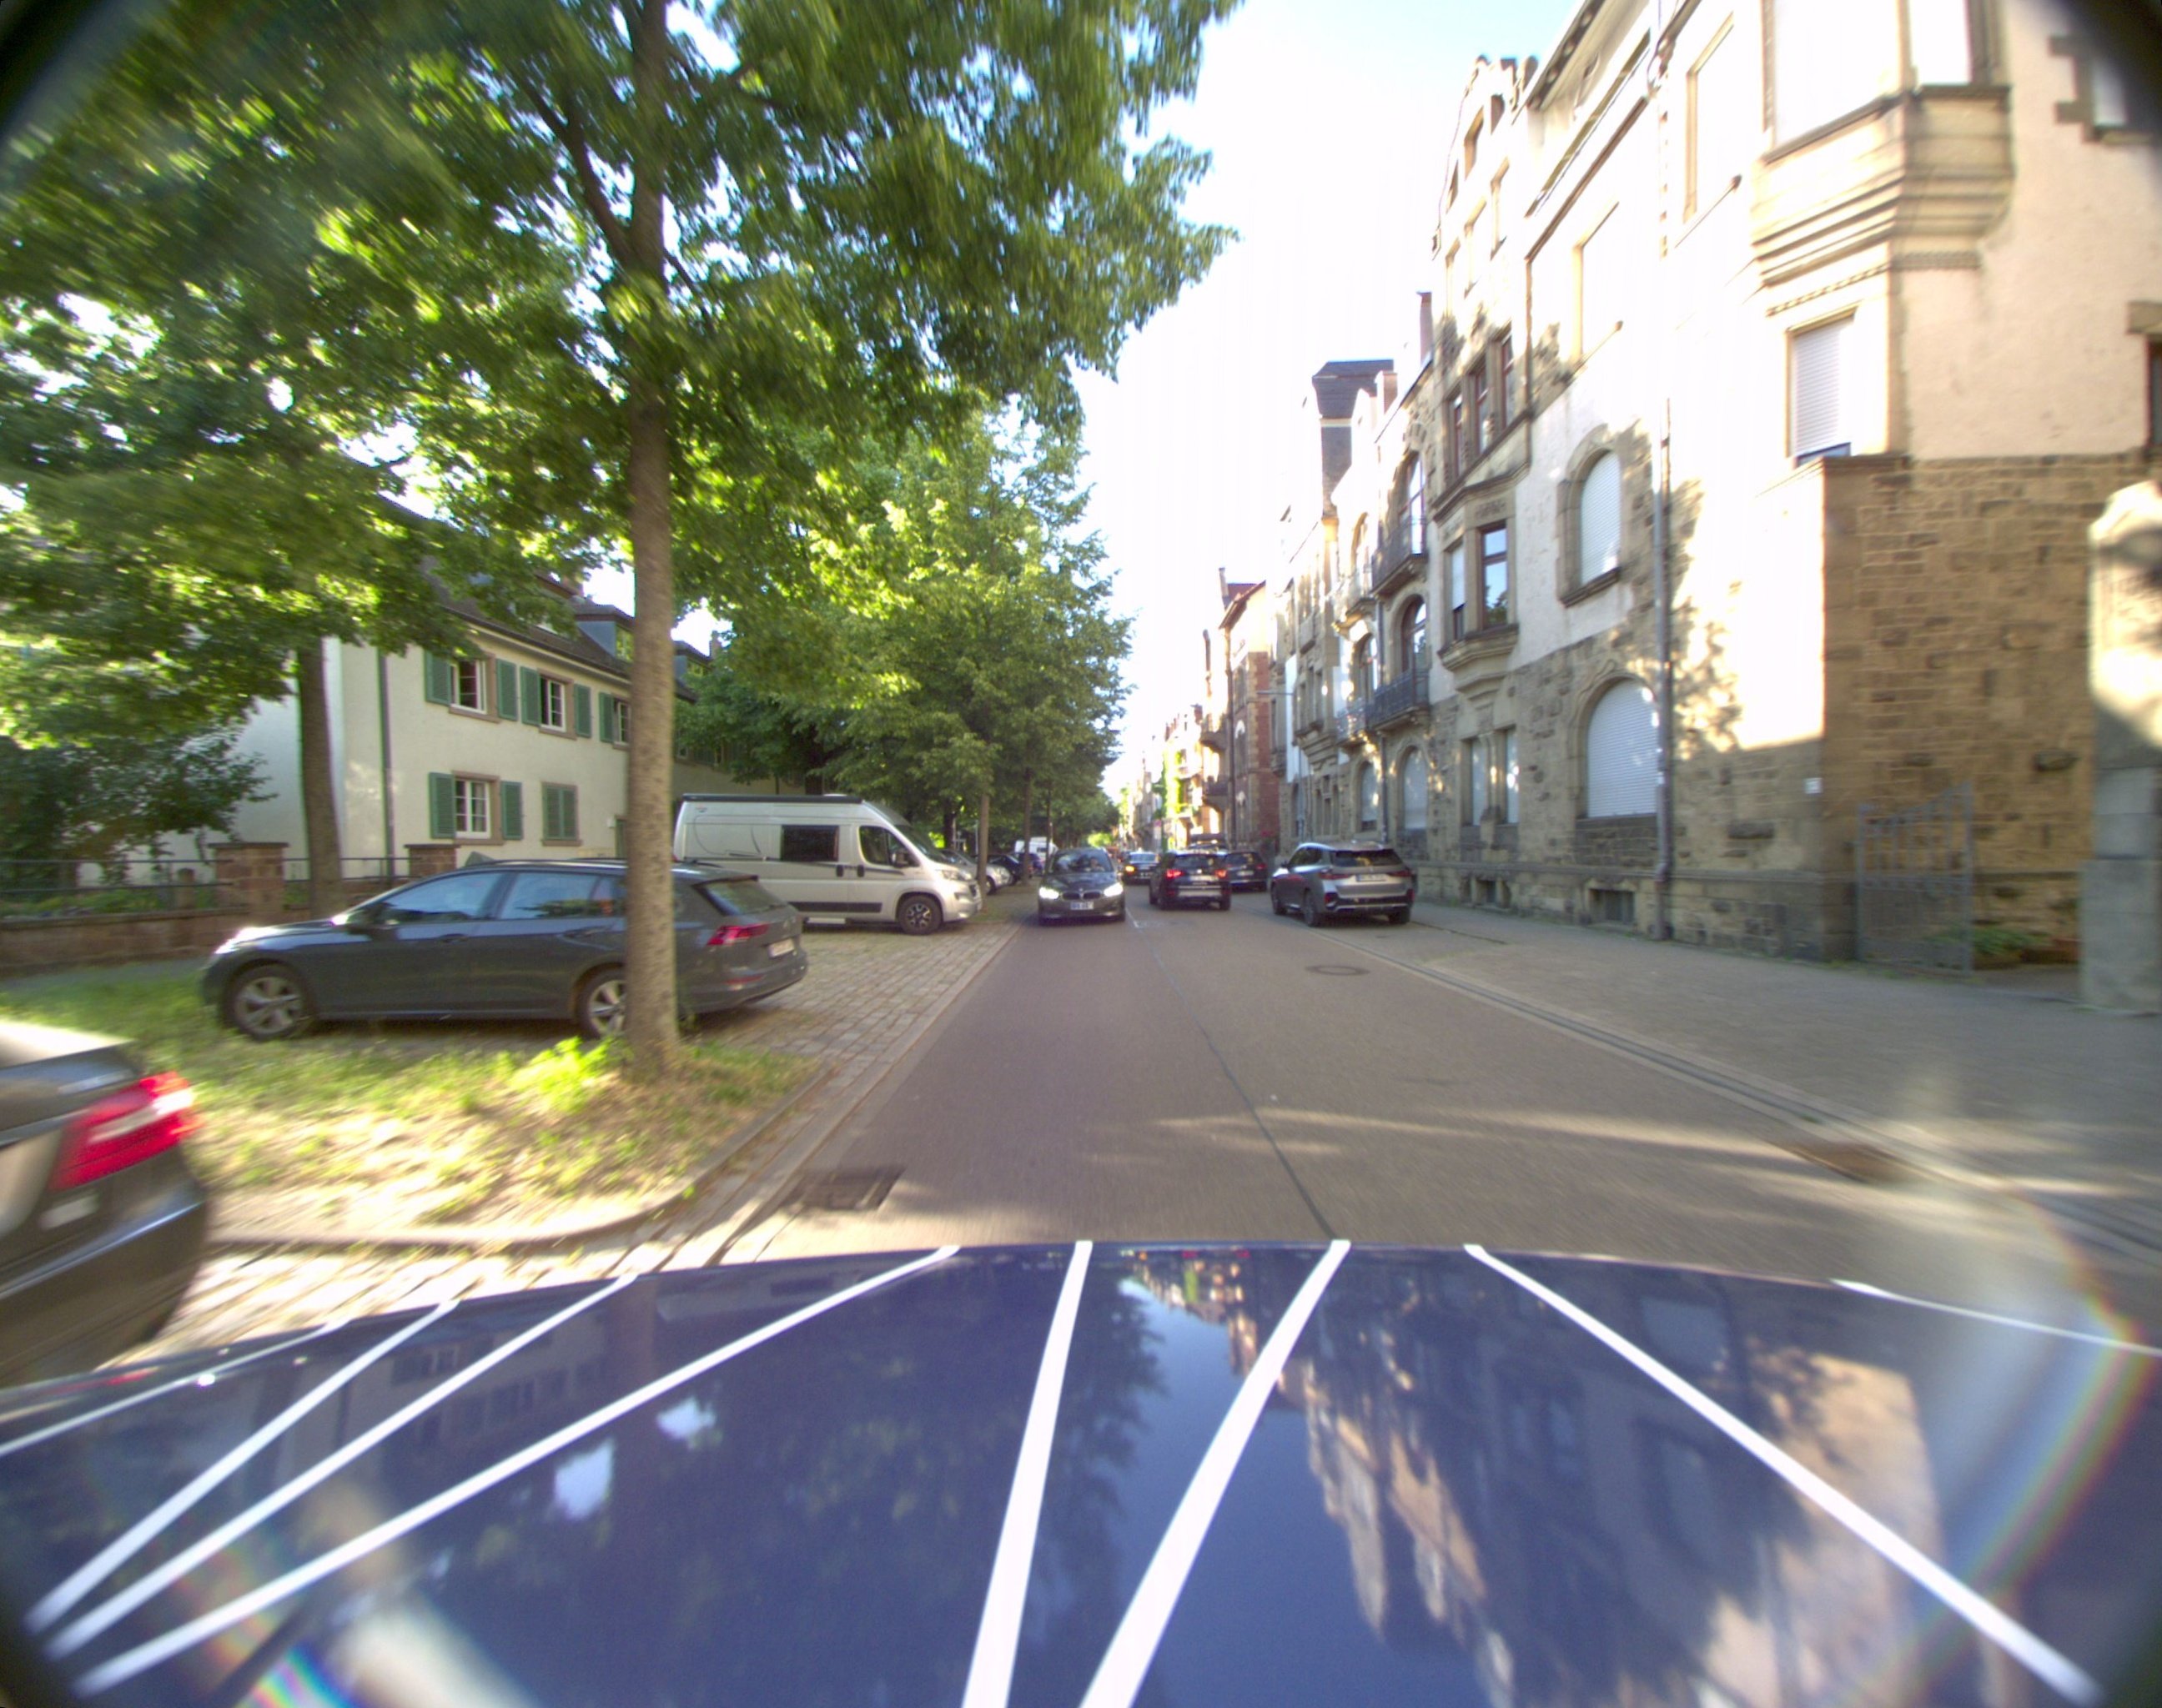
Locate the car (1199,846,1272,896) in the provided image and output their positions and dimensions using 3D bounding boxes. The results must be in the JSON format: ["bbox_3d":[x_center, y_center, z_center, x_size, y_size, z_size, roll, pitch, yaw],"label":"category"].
[{"bbox_3d":[5.430,0.542,27.143,1.774,1.493,4.211,-1,2,0],"label":"car"}]

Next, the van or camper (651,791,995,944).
[{"bbox_3d":[-4.684,0.230,14.494,5.733,2.502,2.162,2,1,0],"label":"van or camper"}]

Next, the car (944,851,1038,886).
[{"bbox_3d":[-3.998,0.636,34.087,3.997,1.543,1.555,0,1,1],"label":"car"}]

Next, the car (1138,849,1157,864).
[{"bbox_3d":[6.908,0.278,79.591,1.686,1.496,3.629,-5,-1,2],"label":"car"}]

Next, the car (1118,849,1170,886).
[{"bbox_3d":[2.804,0.568,34.755,1.868,1.454,4.567,3,1,-1],"label":"car"}]

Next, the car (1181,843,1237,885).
[{"bbox_3d":[5.616,0.384,33.895,1.774,1.658,4.211,-2,1,0],"label":"car"}]

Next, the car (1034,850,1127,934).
[{"bbox_3d":[0.051,0.732,17.089,1.753,1.596,4.550,-2,0,1],"label":"car"}]

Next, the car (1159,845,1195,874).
[{"bbox_3d":[5.670,0.323,45.146,1.633,1.496,3.855,-5,-1,2],"label":"car"}]

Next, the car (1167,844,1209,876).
[{"bbox_3d":[5.493,0.317,39.393,1.633,1.439,3.855,-5,-1,2],"label":"car"}]

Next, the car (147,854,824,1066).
[{"bbox_3d":[-4.827,0.801,6.658,4.487,1.427,1.828,2,1,1],"label":"car"}]

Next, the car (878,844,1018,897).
[{"bbox_3d":[-4.608,0.557,26.833,4.606,1.706,1.999,1,1,-1],"label":"car"}]

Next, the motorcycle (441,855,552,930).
[{"bbox_3d":[-12.183,0.751,15.942,0.660,1.398,2.016,-2,2,1],"label":"motorcycle"}]

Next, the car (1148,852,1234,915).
[{"bbox_3d":[2.776,0.688,19.962,1.631,1.469,3.758,0,1,-1],"label":"car"}]

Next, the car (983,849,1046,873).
[{"bbox_3d":[-4.312,0.468,49.383,3.998,1.504,1.572,0,1,-3],"label":"car"}]

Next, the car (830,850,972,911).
[{"bbox_3d":[-4.711,0.693,20.217,3.260,1.454,1.825,2,-1,2],"label":"car"}]

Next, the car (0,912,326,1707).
[{"bbox_3d":[-4.533,0.882,1.128,4.850,1.530,1.894,2,1,-1],"label":"car"}]

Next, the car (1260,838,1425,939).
[{"bbox_3d":[5.108,0.594,15.516,1.881,1.707,4.339,-2,1,1],"label":"car"}]

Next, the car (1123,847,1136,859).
[{"bbox_3d":[6.986,-0.129,109.542,1.710,1.496,3.629,-5,-1,2],"label":"car"}]

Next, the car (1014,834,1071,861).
[{"bbox_3d":[-3.762,-0.628,75.142,5.448,2.646,2.134,0,1,1],"label":"car"}]

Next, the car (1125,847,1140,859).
[{"bbox_3d":[6.878,-0.115,101.402,1.710,1.496,3.629,-5,-1,2],"label":"car"}]
